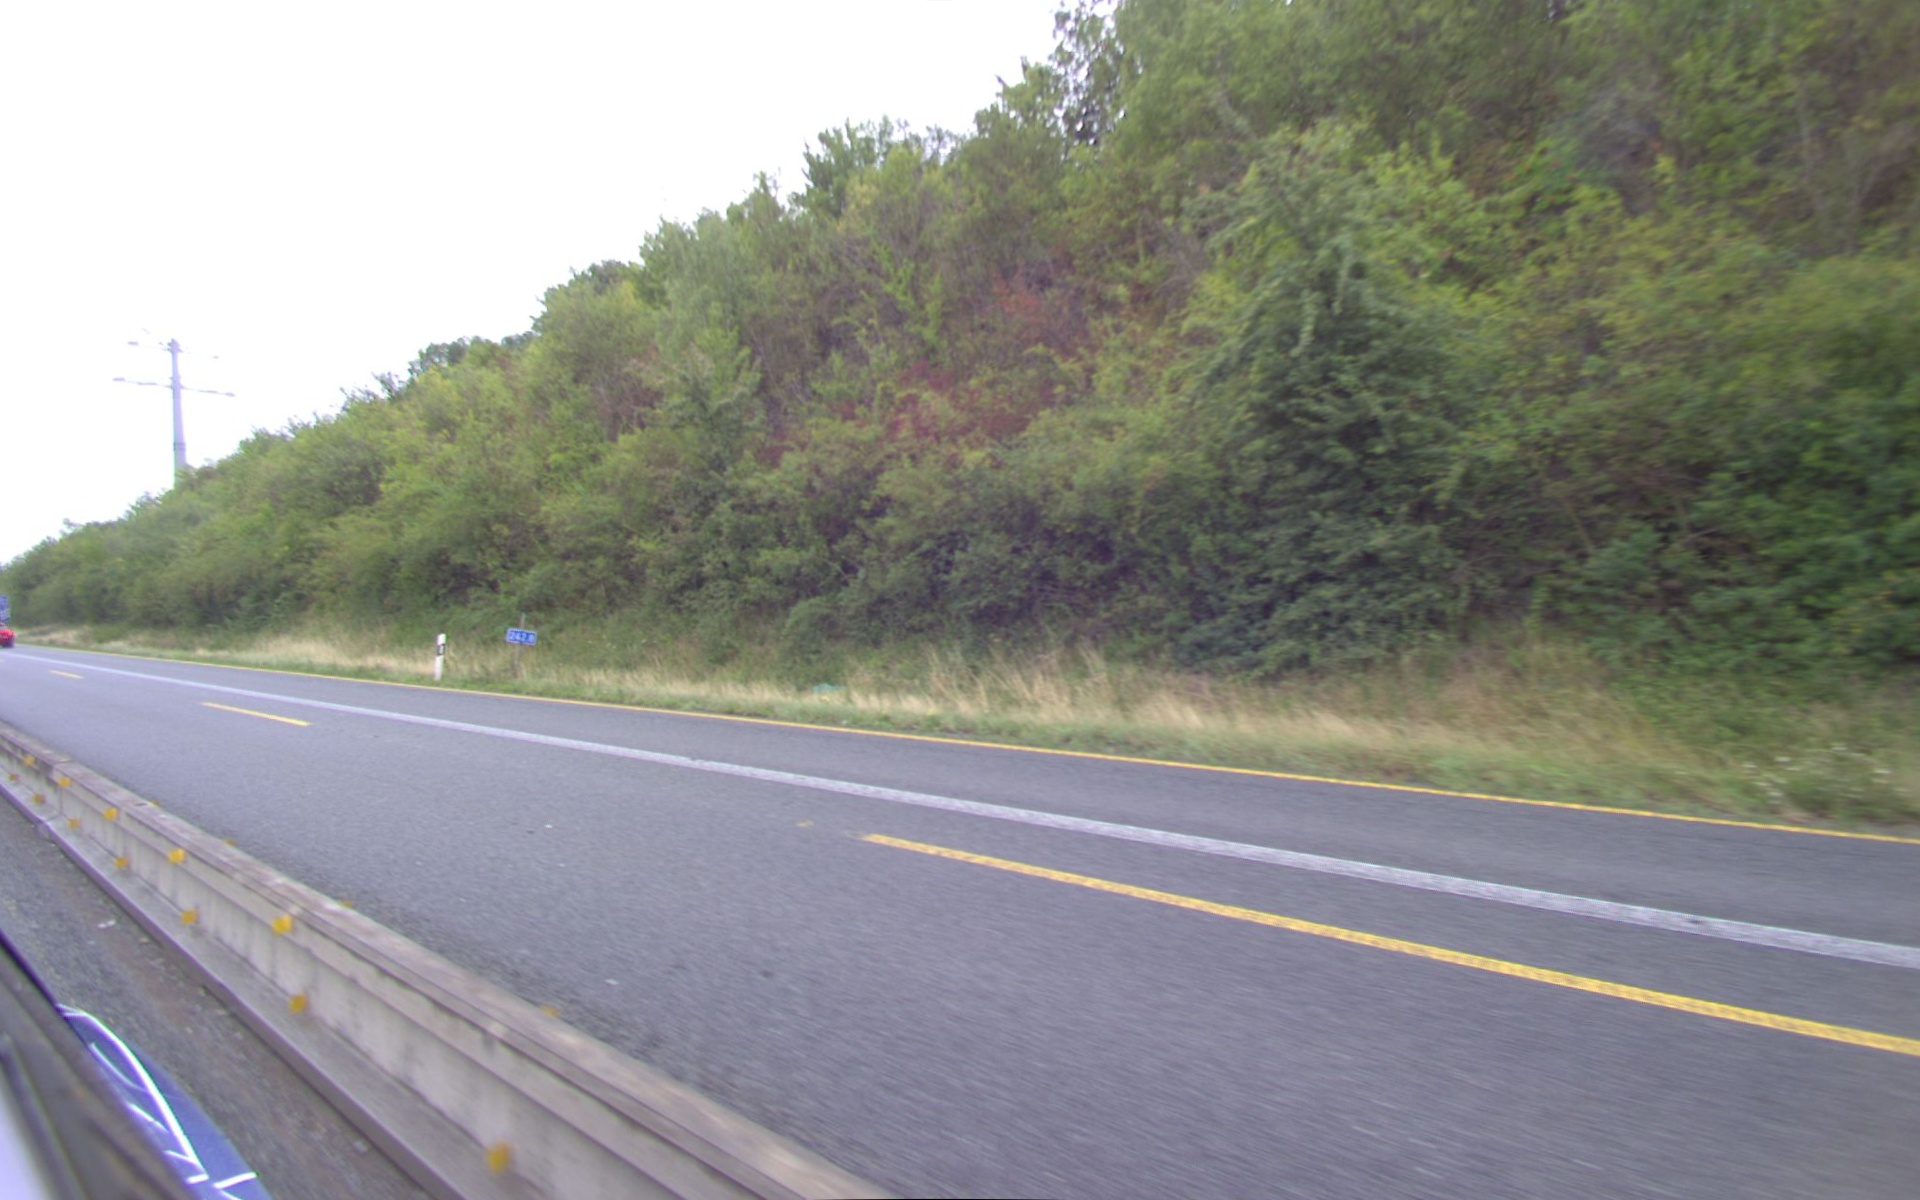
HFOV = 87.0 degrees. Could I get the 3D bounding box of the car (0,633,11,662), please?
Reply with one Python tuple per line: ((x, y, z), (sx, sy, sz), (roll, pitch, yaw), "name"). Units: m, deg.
((-53.353, 2.589, 55.309), (4.447, 1.462, 1.755), (-1, 0, 41), "car")
